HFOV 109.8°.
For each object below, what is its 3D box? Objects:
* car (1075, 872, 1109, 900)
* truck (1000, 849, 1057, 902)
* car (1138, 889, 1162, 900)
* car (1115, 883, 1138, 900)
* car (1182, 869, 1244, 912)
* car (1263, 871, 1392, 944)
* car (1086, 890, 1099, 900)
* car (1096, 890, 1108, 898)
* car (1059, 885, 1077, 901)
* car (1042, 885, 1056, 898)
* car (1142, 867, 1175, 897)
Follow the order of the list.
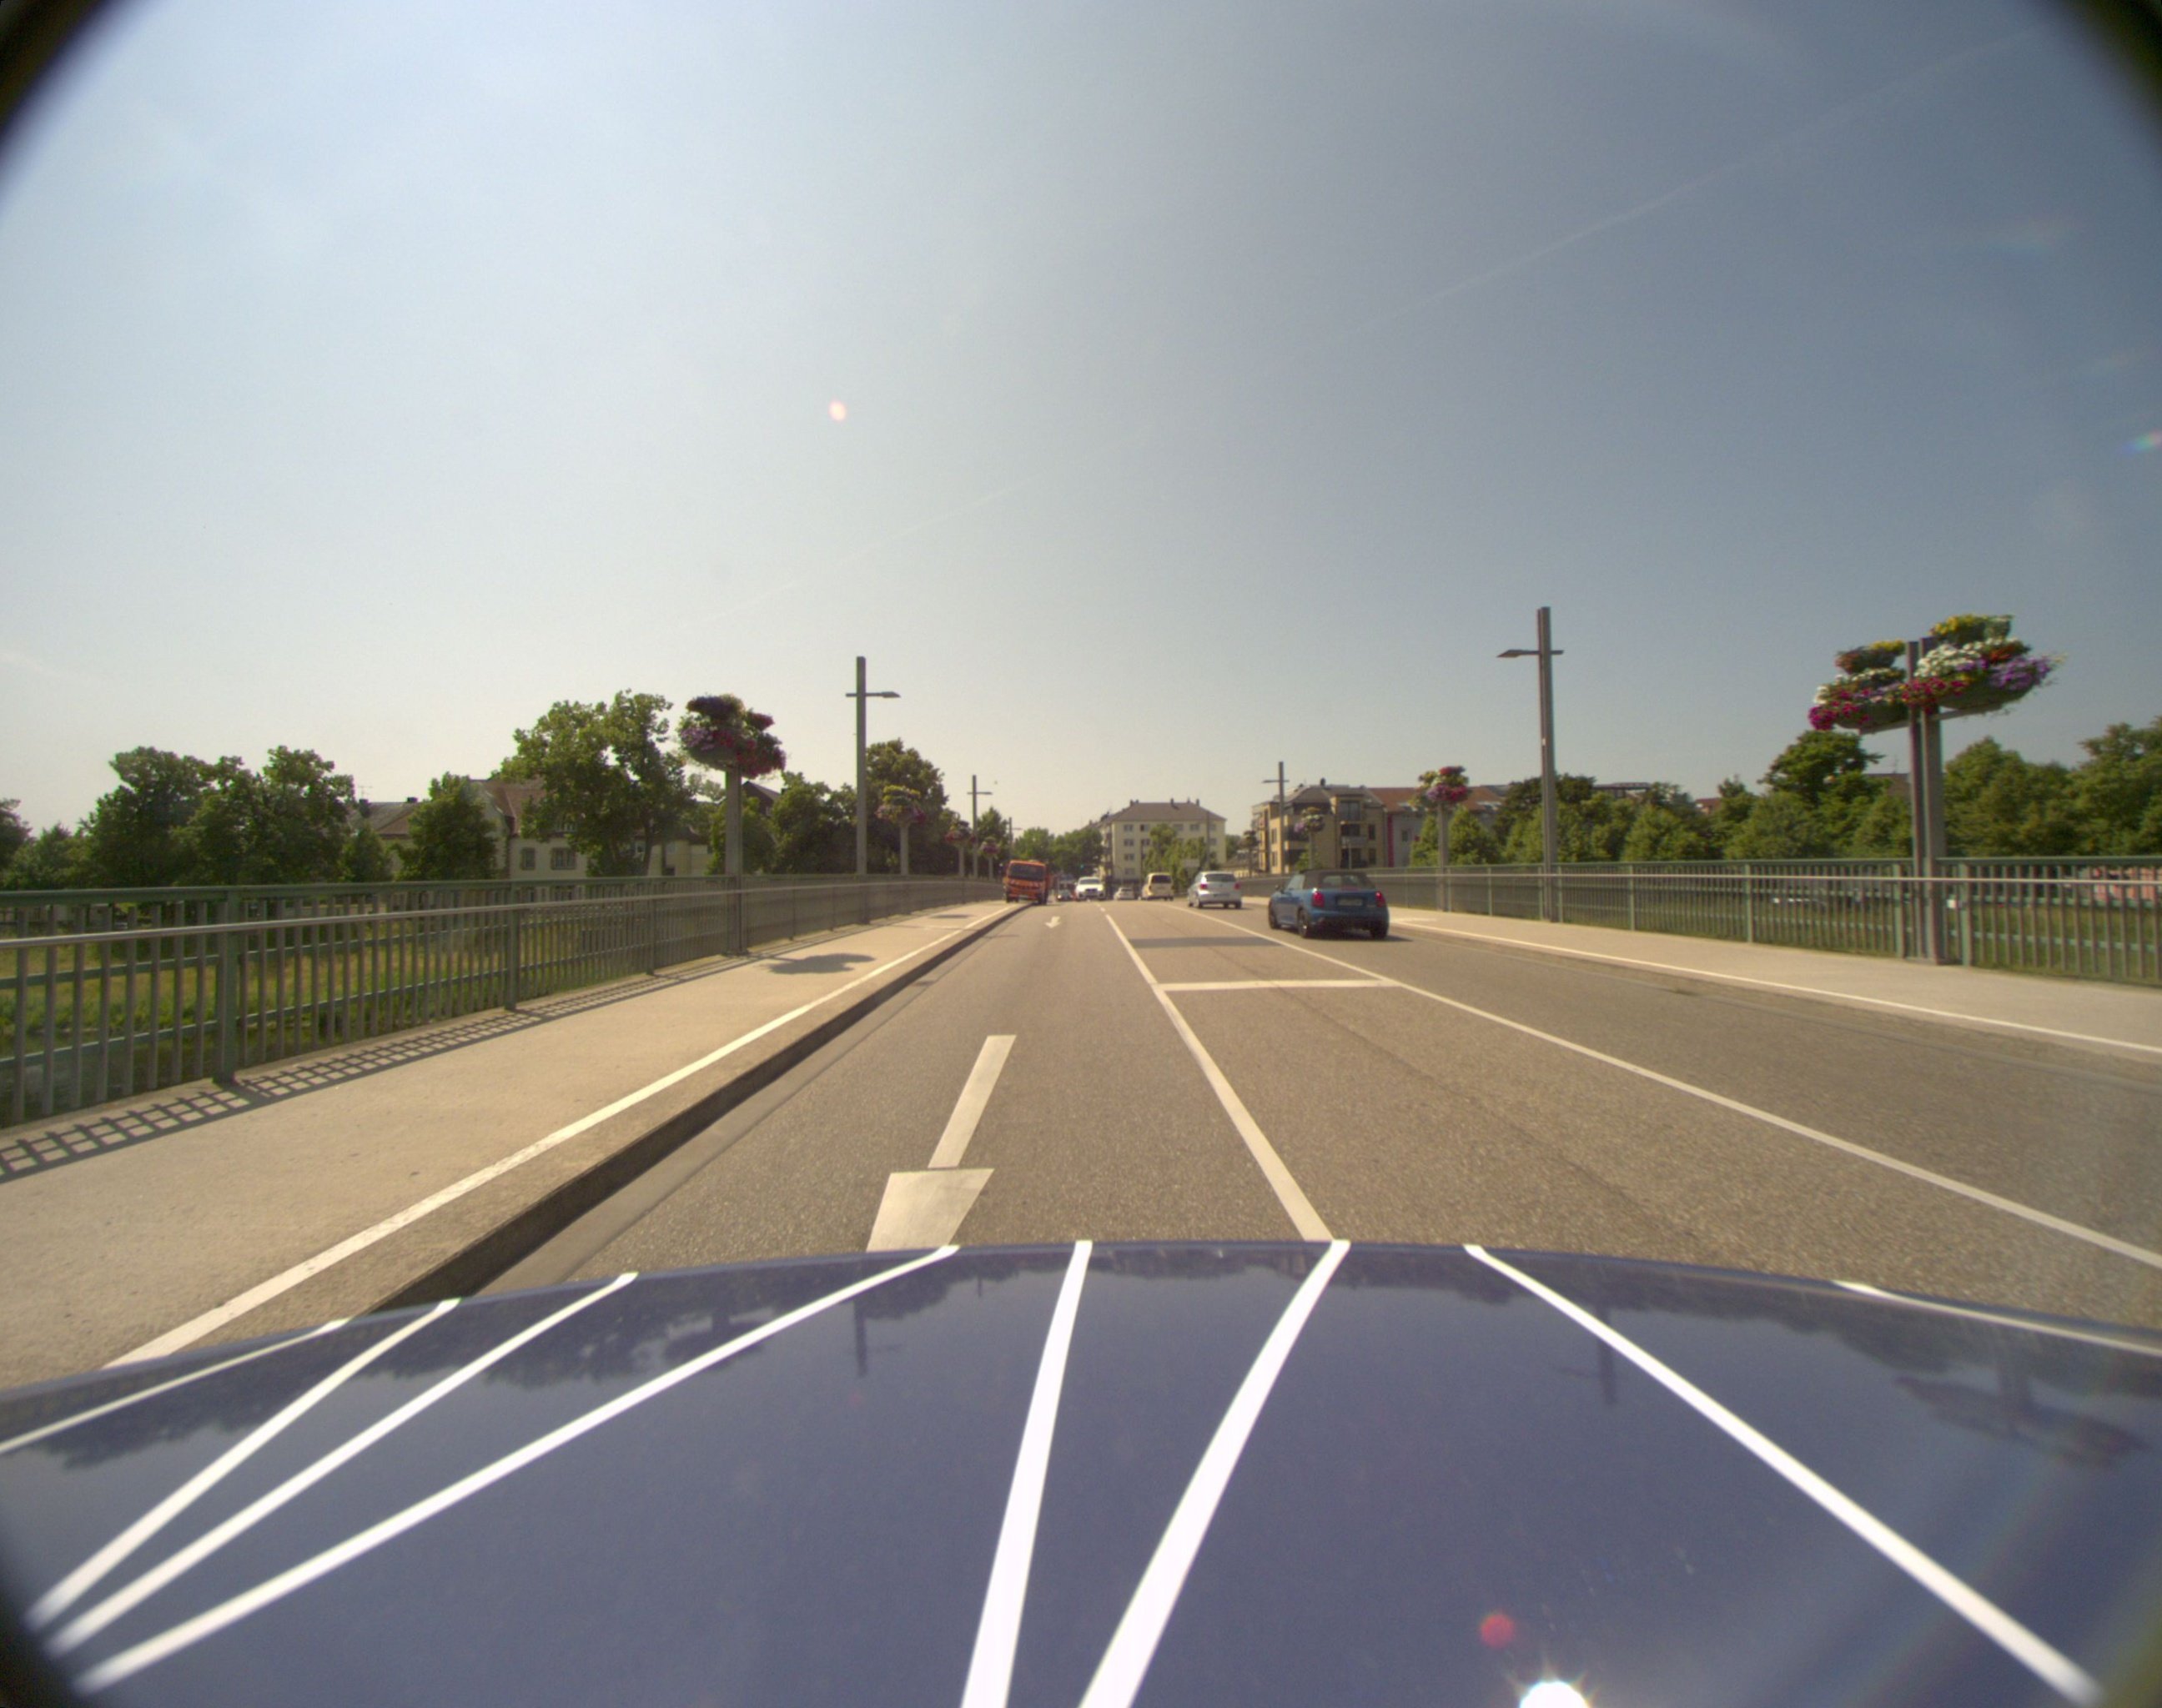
[{"bbox_3d":[0.681,2.103,51.057,1.999,1.739,4.446,-2,-1,-2],"label":"car"},{"bbox_3d":[-2.743,1.204,41.288,2.612,2.674,5.825,-1,-2,0],"label":"truck"},{"bbox_3d":[11.826,6.949,129.782,3.698,1.724,1.893,2,-2,-10],"label":"car"},{"bbox_3d":[4.698,3.904,79.459,1.849,1.424,4.713,-7,0,-2],"label":"car"},{"bbox_3d":[5.163,1.403,30.225,1.765,1.510,4.001,-2,-1,1],"label":"car"},{"bbox_3d":[5.327,1.097,16.900,1.661,1.431,3.756,0,-1,0],"label":"car"},{"bbox_3d":[1.693,5.927,110.232,1.703,1.350,4.456,-1,-1,-2],"label":"car"},{"bbox_3d":[4.157,7.827,150.094,1.587,1.449,3.938,-1,-2,-8],"label":"car"},{"bbox_3d":[-1.434,4.239,82.211,1.776,1.479,3.999,-2,-1,-3],"label":"car"},{"bbox_3d":[-5.216,6.156,124.085,1.842,1.848,4.663,-4,-3,-6],"label":"car"},{"bbox_3d":[5.206,1.882,51.300,1.763,1.846,4.648,-2,-1,1],"label":"car"}]
